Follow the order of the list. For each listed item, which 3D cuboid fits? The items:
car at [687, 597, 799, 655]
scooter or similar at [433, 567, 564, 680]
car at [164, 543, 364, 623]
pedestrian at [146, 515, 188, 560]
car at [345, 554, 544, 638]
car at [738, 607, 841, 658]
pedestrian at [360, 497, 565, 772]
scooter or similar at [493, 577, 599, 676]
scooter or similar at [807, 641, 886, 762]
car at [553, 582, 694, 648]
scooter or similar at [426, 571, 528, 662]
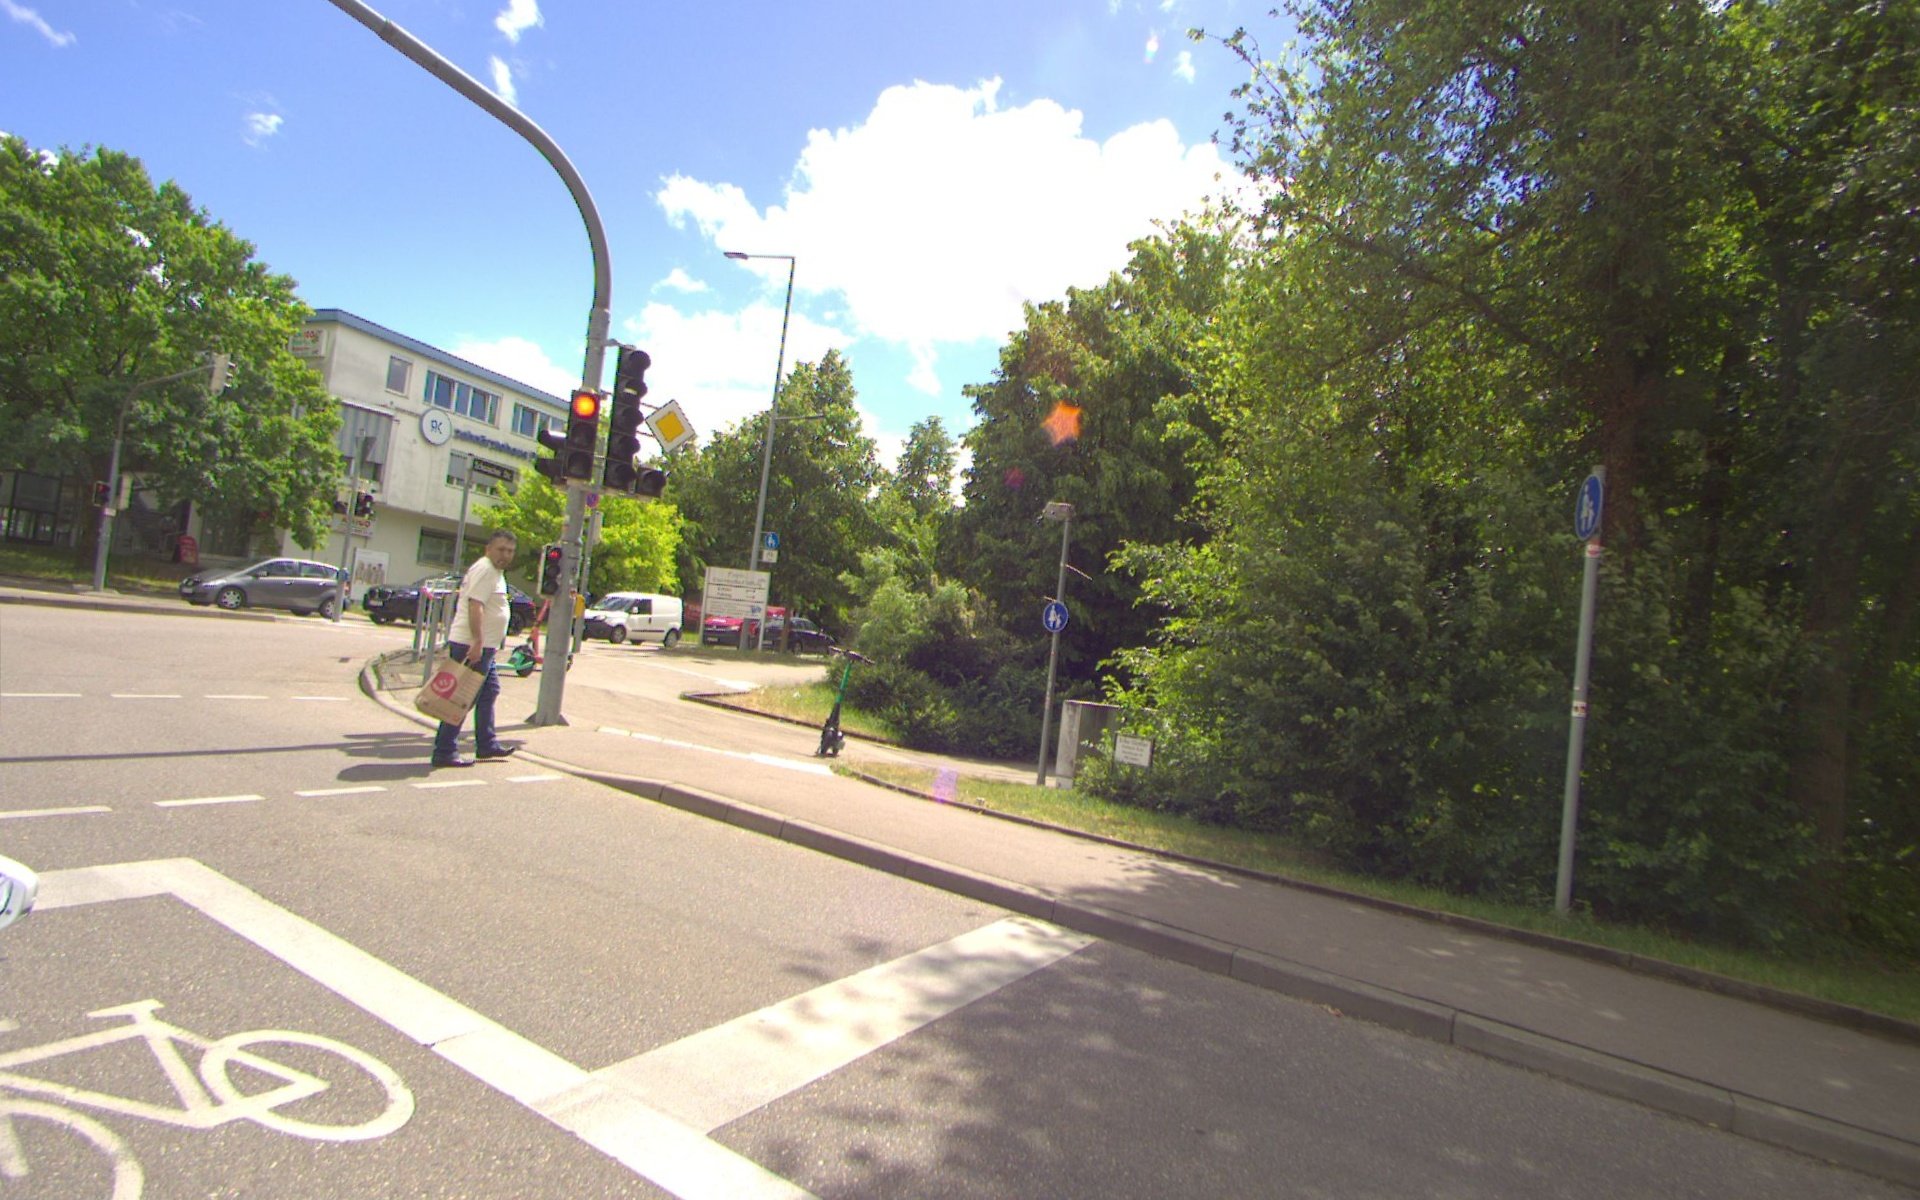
[{"bbox_3d":[-8.744,1.131,41.020,1.964,1.885,4.822,5,-3,22],"label":"car"},{"bbox_3d":[-5.941,0.326,13.005,0.455,1.292,1.344,8,-1,38],"label":"scooter or similar"},{"bbox_3d":[-18.939,-0.414,27.543,1.967,1.573,3.915,6,-2,32],"label":"car"},{"bbox_3d":[-32.074,-2.519,40.691,0.890,1.662,0.771,7,-1,18],"label":"pedestrian"},{"bbox_3d":[-14.236,-0.041,28.106,1.964,1.737,4.574,7,-2,25],"label":"car"},{"bbox_3d":[-5.945,1.179,35.545,1.726,1.504,4.002,4,-2,20],"label":"car"},{"bbox_3d":[-3.615,0.258,7.357,0.729,1.829,0.871,7,-1,28],"label":"pedestrian"},{"bbox_3d":[-5.996,0.407,14.638,0.547,1.254,1.231,8,-3,23],"label":"scooter or similar"},{"bbox_3d":[-1.402,1.242,12.269,0.706,1.287,1.243,10,-7,-8],"label":"scooter or similar"},{"bbox_3d":[-11.525,0.567,34.841,1.963,1.737,4.576,7,-2,22],"label":"car"},{"bbox_3d":[-7.010,0.274,14.665,0.533,1.168,1.362,9,-3,7],"label":"scooter or similar"}]
